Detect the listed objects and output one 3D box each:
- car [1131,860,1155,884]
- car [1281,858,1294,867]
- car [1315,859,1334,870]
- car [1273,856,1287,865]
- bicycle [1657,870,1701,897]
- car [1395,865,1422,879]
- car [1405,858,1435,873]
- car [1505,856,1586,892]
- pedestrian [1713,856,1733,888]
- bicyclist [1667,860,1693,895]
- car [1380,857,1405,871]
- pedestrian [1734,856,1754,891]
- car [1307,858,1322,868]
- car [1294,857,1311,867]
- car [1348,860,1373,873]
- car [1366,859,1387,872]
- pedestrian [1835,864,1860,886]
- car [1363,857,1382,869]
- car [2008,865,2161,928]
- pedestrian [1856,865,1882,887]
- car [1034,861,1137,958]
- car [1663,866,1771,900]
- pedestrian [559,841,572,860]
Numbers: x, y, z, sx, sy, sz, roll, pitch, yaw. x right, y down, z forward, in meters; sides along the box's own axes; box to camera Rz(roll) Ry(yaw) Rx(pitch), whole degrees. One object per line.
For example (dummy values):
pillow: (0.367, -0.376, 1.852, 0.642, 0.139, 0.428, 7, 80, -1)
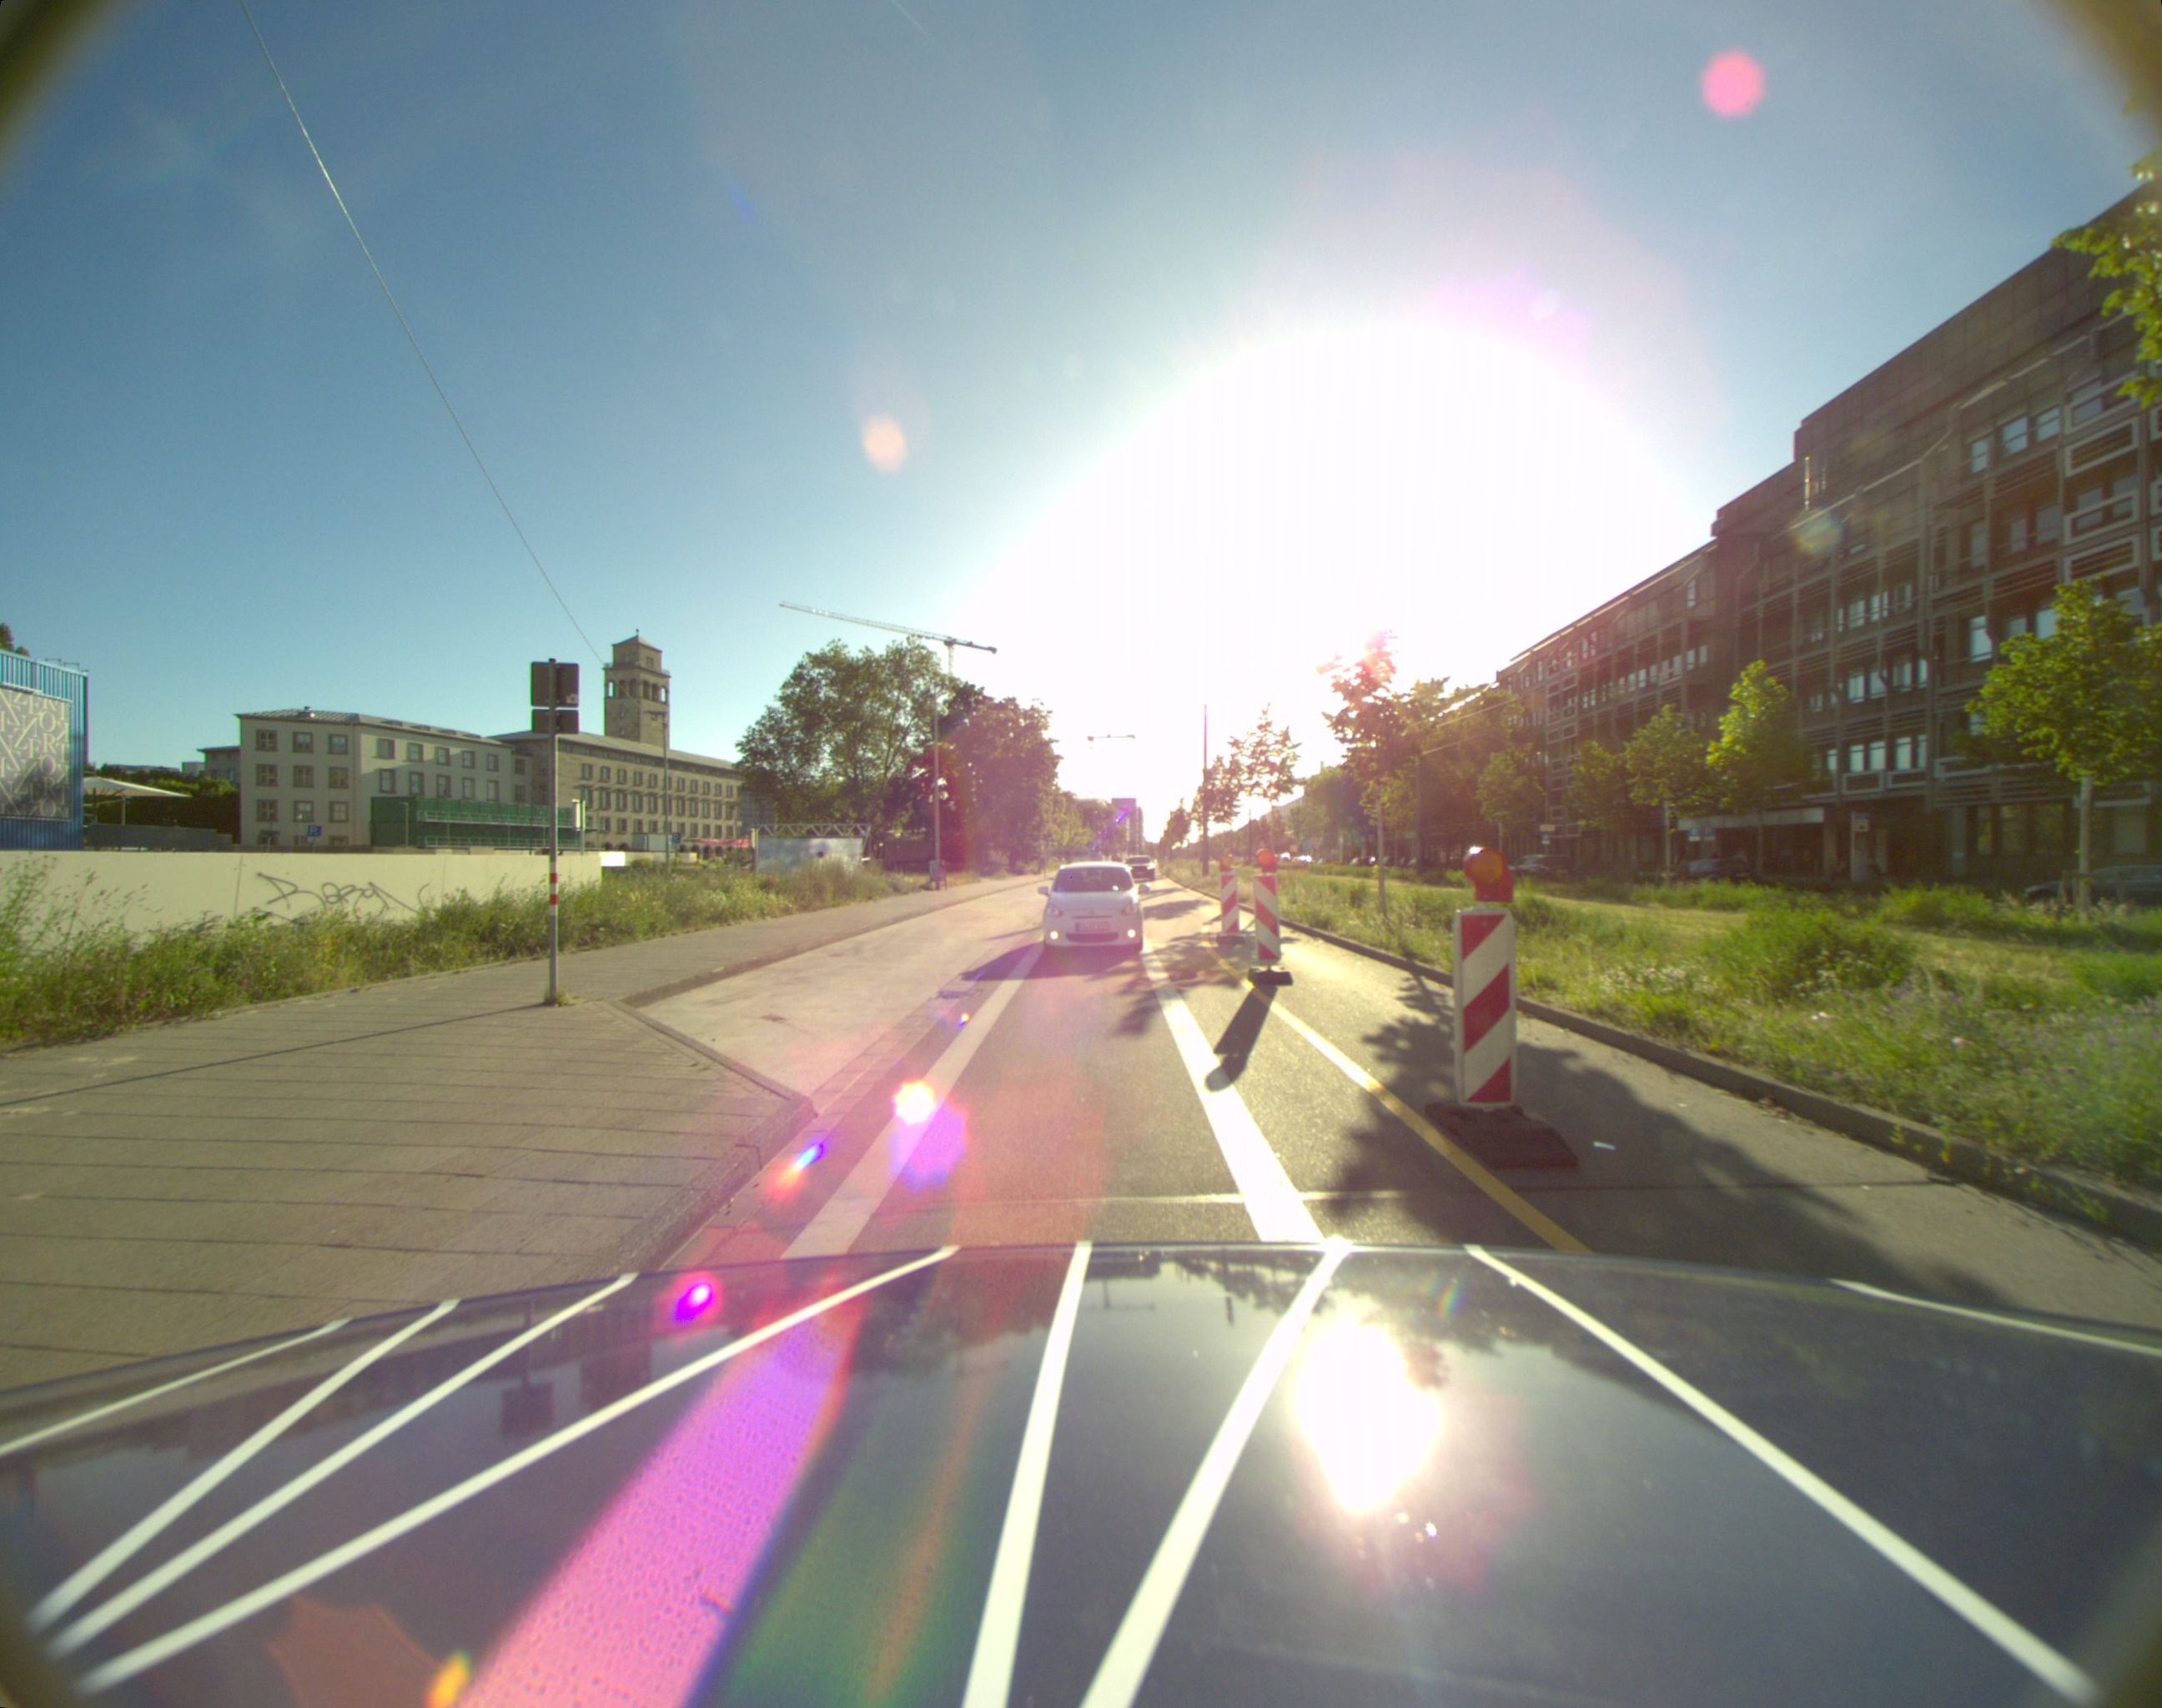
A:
car: (4.022, 1.142, 49.664, 1.458, 1.472, 3.528, -1, 0, 4)
car: (34.062, 1.379, 125.360, 1.554, 1.371, 3.782, 1, 0, 7)
car: (34.616, 1.428, 108.143, 1.631, 1.487, 4.419, 1, 0, 7)
car: (35.372, 1.169, 134.858, 1.864, 1.671, 3.782, 1, 0, 6)
bicycle: (25.650, 1.257, 32.643, 0.566, 1.090, 1.771, 1, 0, 4)
car: (37.743, 2.085, 87.559, 1.726, 1.477, 3.632, 0, 0, 3)
car: (36.418, 1.209, 81.730, 1.725, 1.535, 3.632, -2, 0, 4)
car: (23.263, 0.953, 38.222, 1.732, 1.736, 4.122, 0, 0, 3)
pedestrian: (32.324, 0.908, 38.260, 0.521, 1.569, 0.536, 1, 0, 8)
bicyclist: (25.644, 0.993, 32.533, 0.566, 1.449, 0.706, 1, 0, 4)
car: (38.211, 1.260, 93.276, 1.725, 1.592, 3.632, -2, 0, 4)
pedestrian: (33.151, 0.959, 37.993, 0.521, 1.712, 0.536, 1, 0, 8)
car: (37.453, 1.459, 121.760, 1.631, 1.487, 3.782, 1, 0, 7)
car: (31.761, 1.140, 108.974, 1.631, 1.487, 3.782, 1, 0, 7)
car: (31.944, 1.419, 86.932, 1.719, 1.379, 4.042, 0, 0, 6)
car: (38.306, 1.496, 98.623, 1.510, 1.592, 3.528, -2, 0, 4)
pedestrian: (35.315, 0.976, 35.024, 0.618, 0.980, 0.499, 0, 0, 7)
car: (39.703, 1.229, 103.527, 1.389, 1.592, 3.267, -2, 0, 4)
car: (26.845, 1.031, 19.105, 1.733, 1.460, 4.506, -1, -1, 4)
pedestrian: (35.149, 0.968, 33.886, 0.618, 0.980, 0.499, 0, 0, 7)
car: (0.156, 0.912, 13.923, 1.614, 1.488, 3.395, -2, 0, 3)
car: (28.338, 1.251, 34.036, 1.719, 1.379, 4.041, 0, 0, 5)
pedestrian: (-36.658, -0.251, 54.007, 0.572, 1.288, 0.442, -2, 2, 23)
